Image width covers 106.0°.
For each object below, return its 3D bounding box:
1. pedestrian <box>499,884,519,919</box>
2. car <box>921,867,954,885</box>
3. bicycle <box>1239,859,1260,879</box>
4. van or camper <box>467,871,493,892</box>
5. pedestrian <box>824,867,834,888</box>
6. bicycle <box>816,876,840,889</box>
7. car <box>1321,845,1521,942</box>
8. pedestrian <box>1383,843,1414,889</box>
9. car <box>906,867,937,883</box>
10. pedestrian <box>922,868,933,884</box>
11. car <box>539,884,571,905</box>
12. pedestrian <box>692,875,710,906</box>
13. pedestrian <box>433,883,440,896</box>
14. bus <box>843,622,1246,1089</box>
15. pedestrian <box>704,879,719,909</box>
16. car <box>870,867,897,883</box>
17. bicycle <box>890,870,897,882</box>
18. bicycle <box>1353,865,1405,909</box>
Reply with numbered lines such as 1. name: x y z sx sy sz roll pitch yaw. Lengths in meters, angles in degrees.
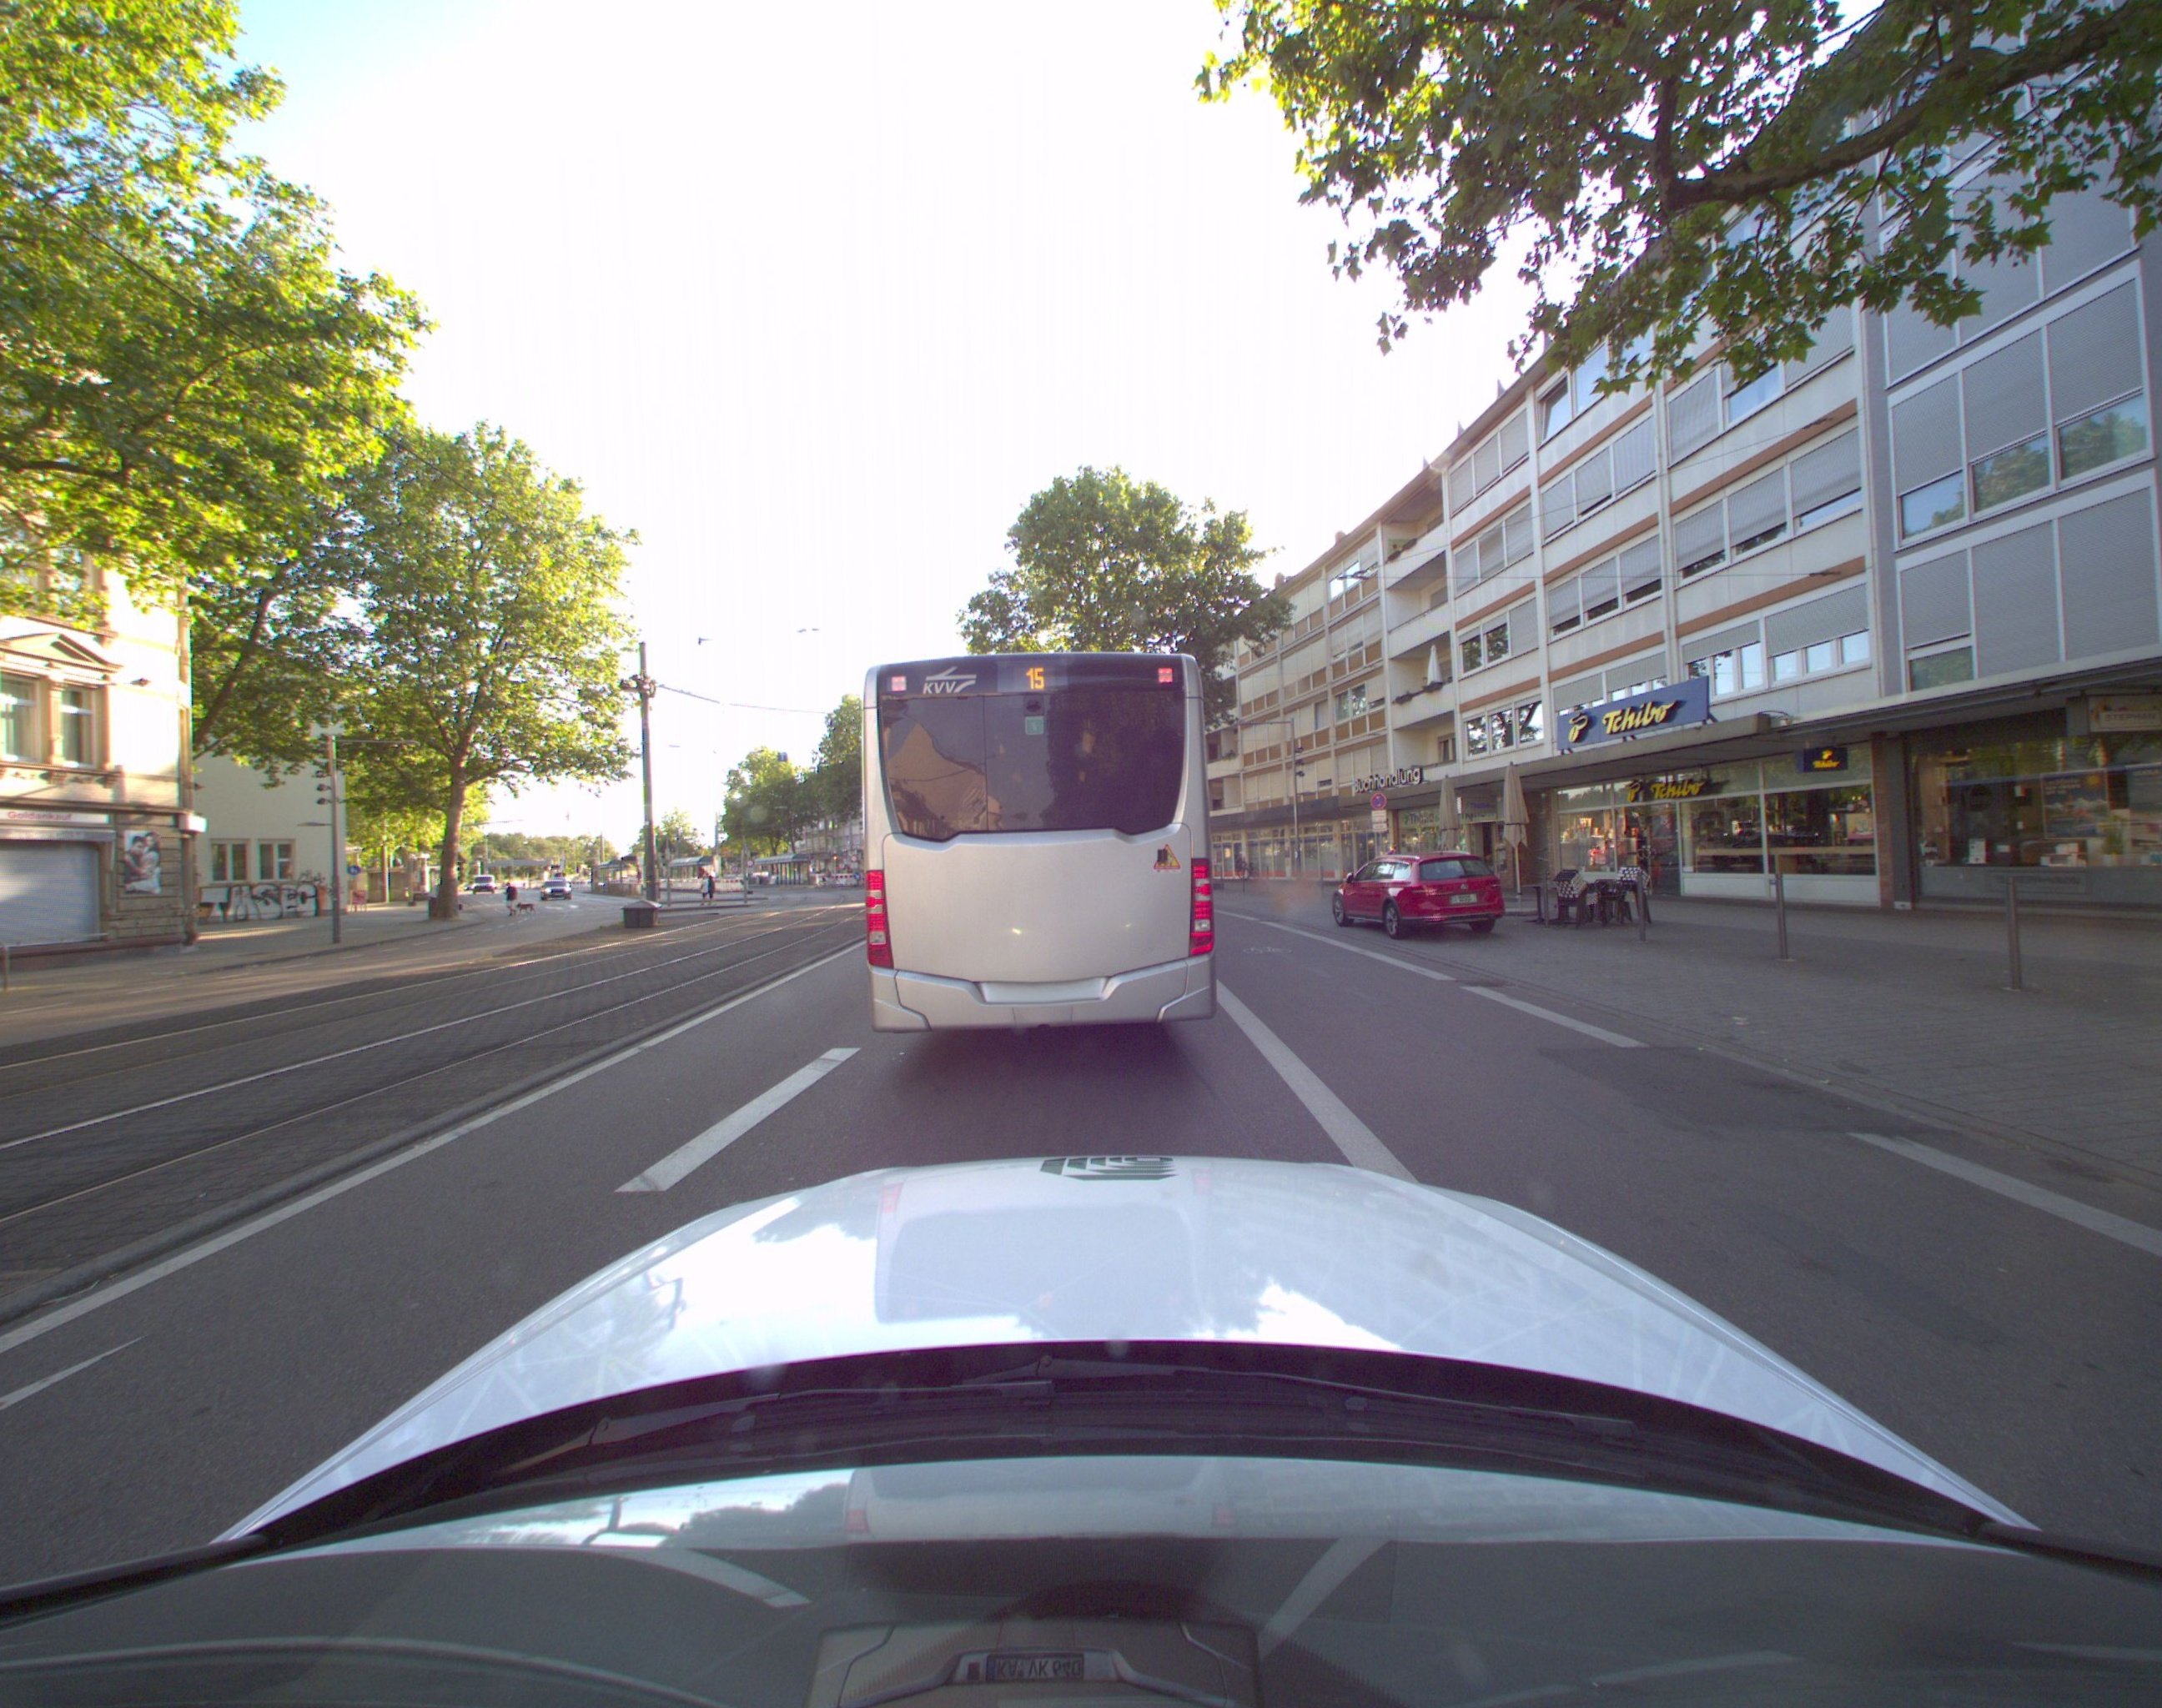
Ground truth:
1. pedestrian: -28.711 2.357 40.884 0.426 1.710 0.681 -1 -1 33
2. car: -13.772 2.127 78.086 1.675 1.516 3.376 -5 2 -35
3. bicycle: 9.366 0.827 45.301 0.438 1.092 1.453 -4 0 -18
4. van or camper: -72.470 3.330 98.309 2.183 2.319 5.050 -4 1 -34
5. pedestrian: -20.619 1.908 66.697 0.721 1.725 0.397 -2 -1 -17
6. bicycle: -20.814 2.343 67.102 1.844 0.942 0.461 -2 -1 -16
7. car: 6.354 0.685 15.885 1.774 1.496 4.563 -4 0 -2
8. pedestrian: 11.118 0.424 28.521 0.640 1.552 0.804 -2 -1 -13
9. car: -15.990 2.081 81.453 1.675 1.394 3.374 -6 2 -37
10. pedestrian: -13.066 1.840 69.276 0.779 1.303 0.590 -2 -1 -19
11. car: -40.045 3.028 61.954 1.900 1.472 4.161 -2 -1 -35
12. pedestrian: -18.909 1.823 40.479 0.517 1.504 0.595 -2 -1 9
13. pedestrian: -73.246 4.016 92.581 0.519 1.504 0.552 -2 -1 -36
14. bus: -0.239 0.071 10.689 2.649 3.099 10.213 -2 -1 0
15. pedestrian: -18.616 2.019 41.058 0.405 1.504 0.519 -2 -1 11
16. car: -21.524 2.290 88.648 1.675 1.468 3.375 -6 2 -36
17. bicycle: -19.694 2.337 85.501 0.508 1.211 2.079 -2 -1 -19
18. bicycle: 7.842 0.840 21.498 0.511 1.070 1.657 -4 0 -7
